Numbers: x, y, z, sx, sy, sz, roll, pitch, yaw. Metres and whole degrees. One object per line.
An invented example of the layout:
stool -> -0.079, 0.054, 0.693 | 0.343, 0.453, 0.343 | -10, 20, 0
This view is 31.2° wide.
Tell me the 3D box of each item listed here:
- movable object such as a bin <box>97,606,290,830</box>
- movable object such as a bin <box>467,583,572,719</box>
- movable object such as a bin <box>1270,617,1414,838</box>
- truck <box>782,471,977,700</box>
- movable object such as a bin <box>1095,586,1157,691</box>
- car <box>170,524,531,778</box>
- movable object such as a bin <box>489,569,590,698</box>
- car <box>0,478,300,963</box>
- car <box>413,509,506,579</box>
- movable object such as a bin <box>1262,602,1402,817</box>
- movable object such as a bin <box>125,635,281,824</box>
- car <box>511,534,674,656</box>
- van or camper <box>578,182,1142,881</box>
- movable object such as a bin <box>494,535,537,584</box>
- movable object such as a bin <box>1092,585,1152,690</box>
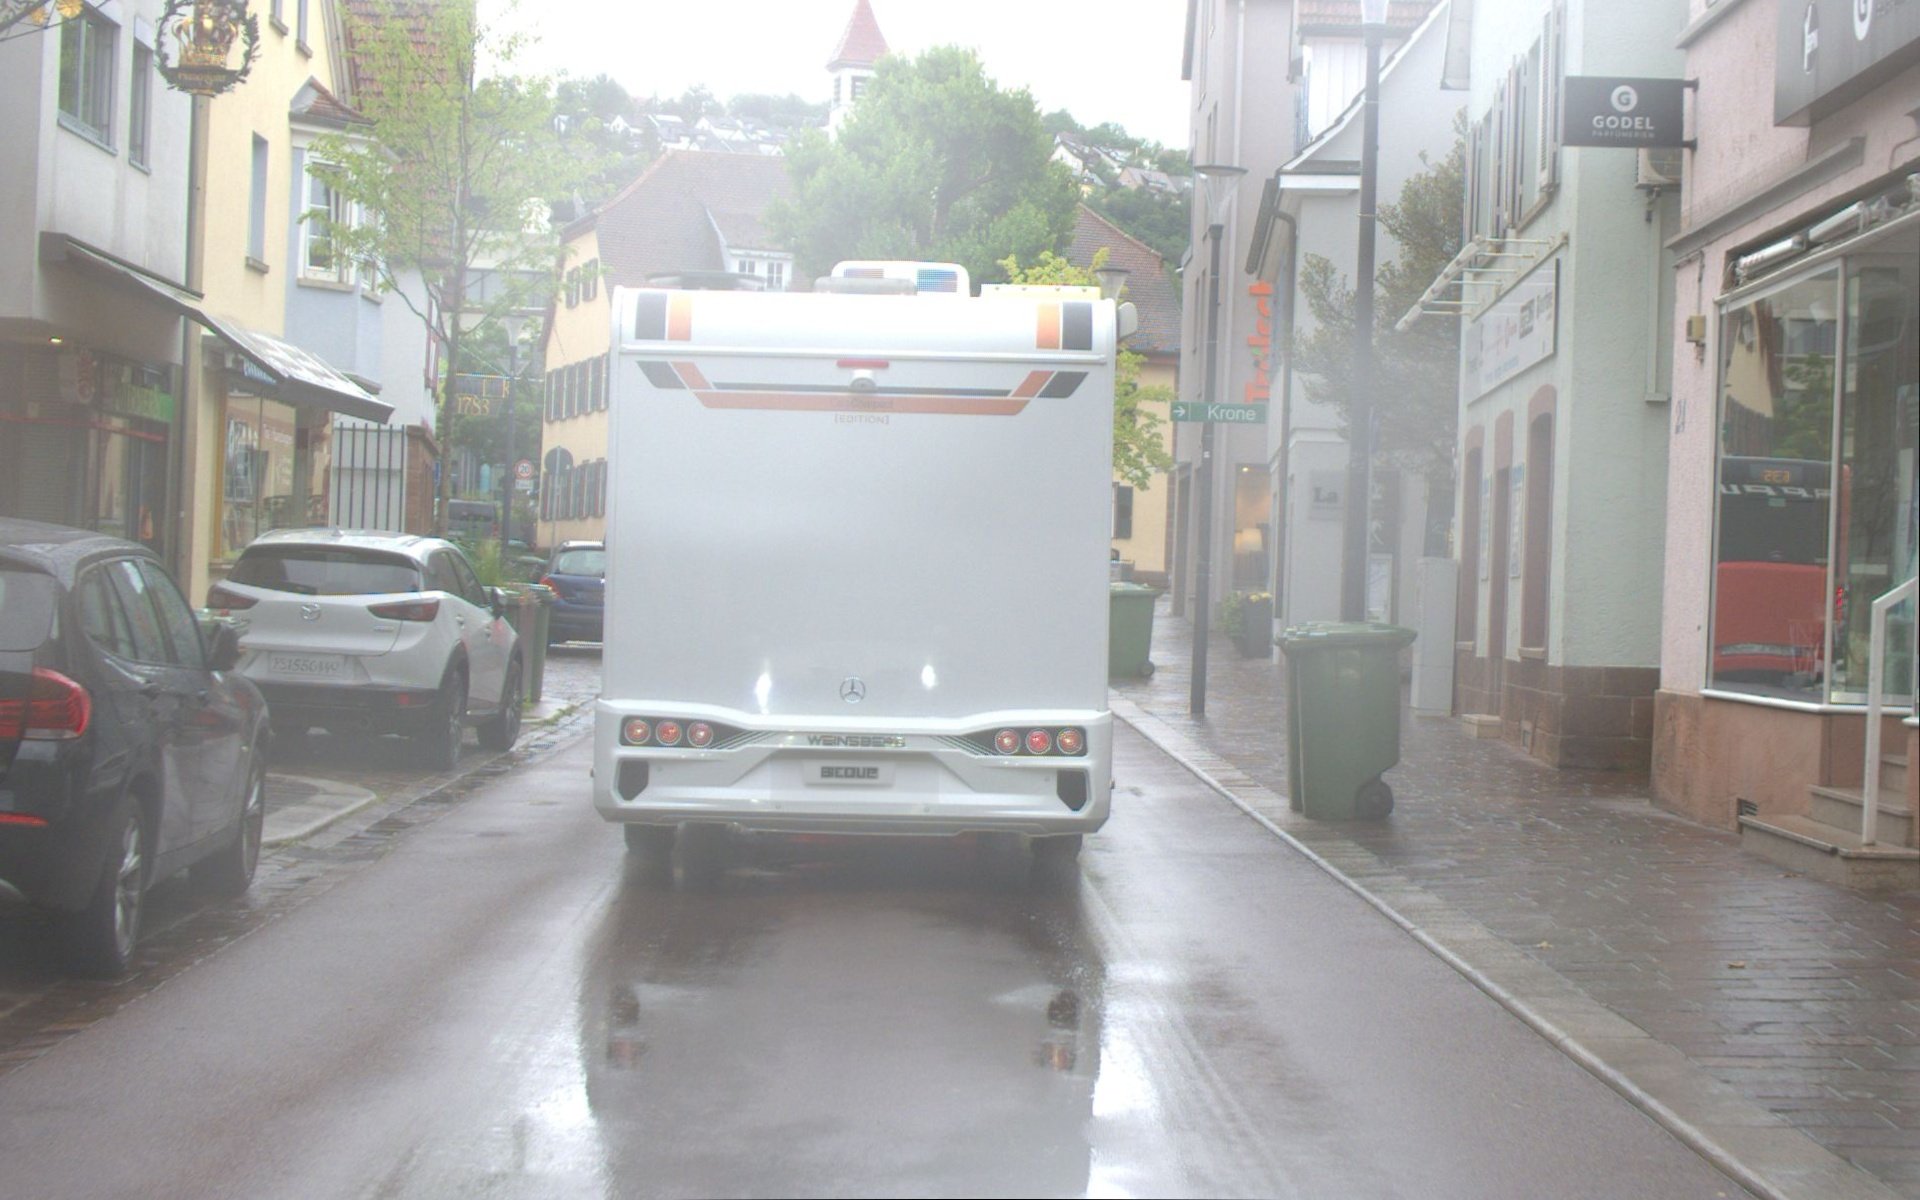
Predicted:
movable object such as a bin -> -3.824, 0.578, 17.201 | 0.747, 1.079, 0.763 | 1, 0, 2
movable object such as a bin -> -3.671, 0.422, 28.687 | 0.814, 1.102, 0.610 | 1, 0, -5
movable object such as a bin -> 2.122, 0.701, 19.168 | 0.718, 1.197, 0.573 | 1, 0, 1
truck -> -1.191, -0.180, 47.951 | 2.461, 2.929, 6.198 | 1, 0, -3
movable object such as a bin -> 1.974, 0.456, 40.904 | 0.658, 1.234, 0.621 | 1, 0, -1
car -> -4.105, 0.327, 23.753 | 1.827, 1.561, 4.000 | 1, 0, -1
movable object such as a bin -> -3.832, 0.304, 31.350 | 0.815, 1.102, 0.610 | 5, -1, -5
car -> -3.808, 0.372, 13.114 | 1.833, 1.546, 4.282 | 1, 0, -2
car -> -14.987, -1.649, 102.873 | 1.993, 2.007, 4.001 | 2, 0, -19
movable object such as a bin -> 2.133, 0.621, 19.760 | 0.718, 1.197, 0.578 | 1, 0, 1
movable object such as a bin -> -3.947, 0.667, 17.954 | 0.656, 0.952, 0.562 | 1, 0, 2
car -> -4.879, -0.098, 45.562 | 1.993, 1.467, 4.001 | 2, 1, -6
van or camper -> -0.619, -0.278, 17.806 | 2.325, 2.909, 6.394 | 1, 0, -4
movable object such as a bin -> -9.788, -0.886, 75.682 | 0.818, 1.047, 0.700 | 2, 0, -16
movable object such as a bin -> 1.951, 0.451, 41.491 | 0.658, 1.241, 0.543 | 1, 0, -1
